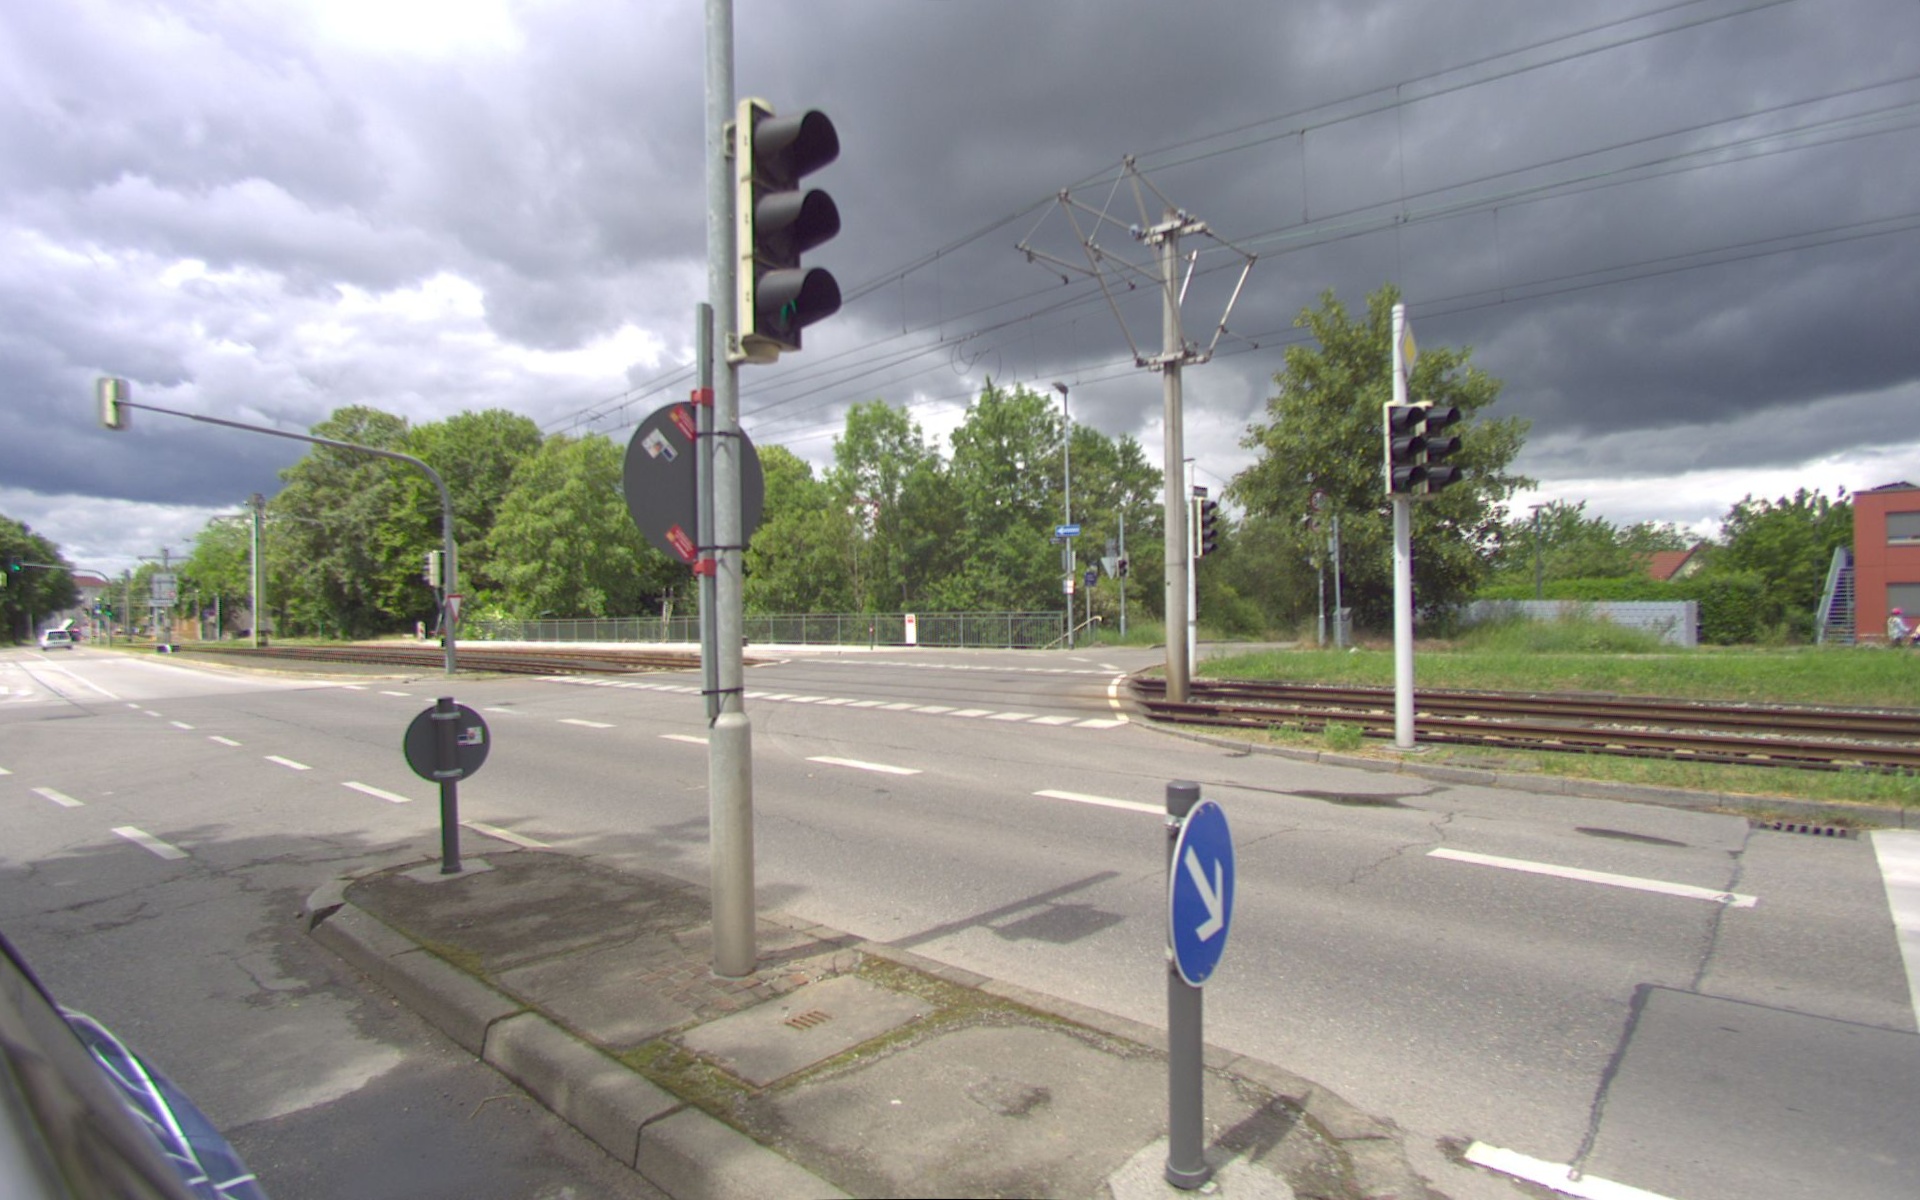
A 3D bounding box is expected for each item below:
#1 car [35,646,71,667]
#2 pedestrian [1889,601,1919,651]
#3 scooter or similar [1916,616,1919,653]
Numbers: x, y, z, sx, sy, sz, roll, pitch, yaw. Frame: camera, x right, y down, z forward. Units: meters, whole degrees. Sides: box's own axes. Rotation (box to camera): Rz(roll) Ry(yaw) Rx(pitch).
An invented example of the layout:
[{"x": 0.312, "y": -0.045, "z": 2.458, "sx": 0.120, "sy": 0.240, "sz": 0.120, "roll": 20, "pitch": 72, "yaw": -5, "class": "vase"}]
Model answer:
[{"x": -67.515, "y": 4.192, "z": 75.342, "sx": 1.765, "sy": 1.358, "sz": 4.855, "roll": -1, "pitch": 0, "yaw": -45, "class": "car"}, {"x": 28.083, "y": 0.771, "z": 29.983, "sx": 0.650, "sy": 1.451, "sz": 0.490, "roll": -1, "pitch": 0, "yaw": 14, "class": "pedestrian"}, {"x": 28.749, "y": 1.023, "z": 29.839, "sx": 0.710, "sy": 1.084, "sz": 0.380, "roll": -1, "pitch": 0, "yaw": 12, "class": "scooter or similar"}]
